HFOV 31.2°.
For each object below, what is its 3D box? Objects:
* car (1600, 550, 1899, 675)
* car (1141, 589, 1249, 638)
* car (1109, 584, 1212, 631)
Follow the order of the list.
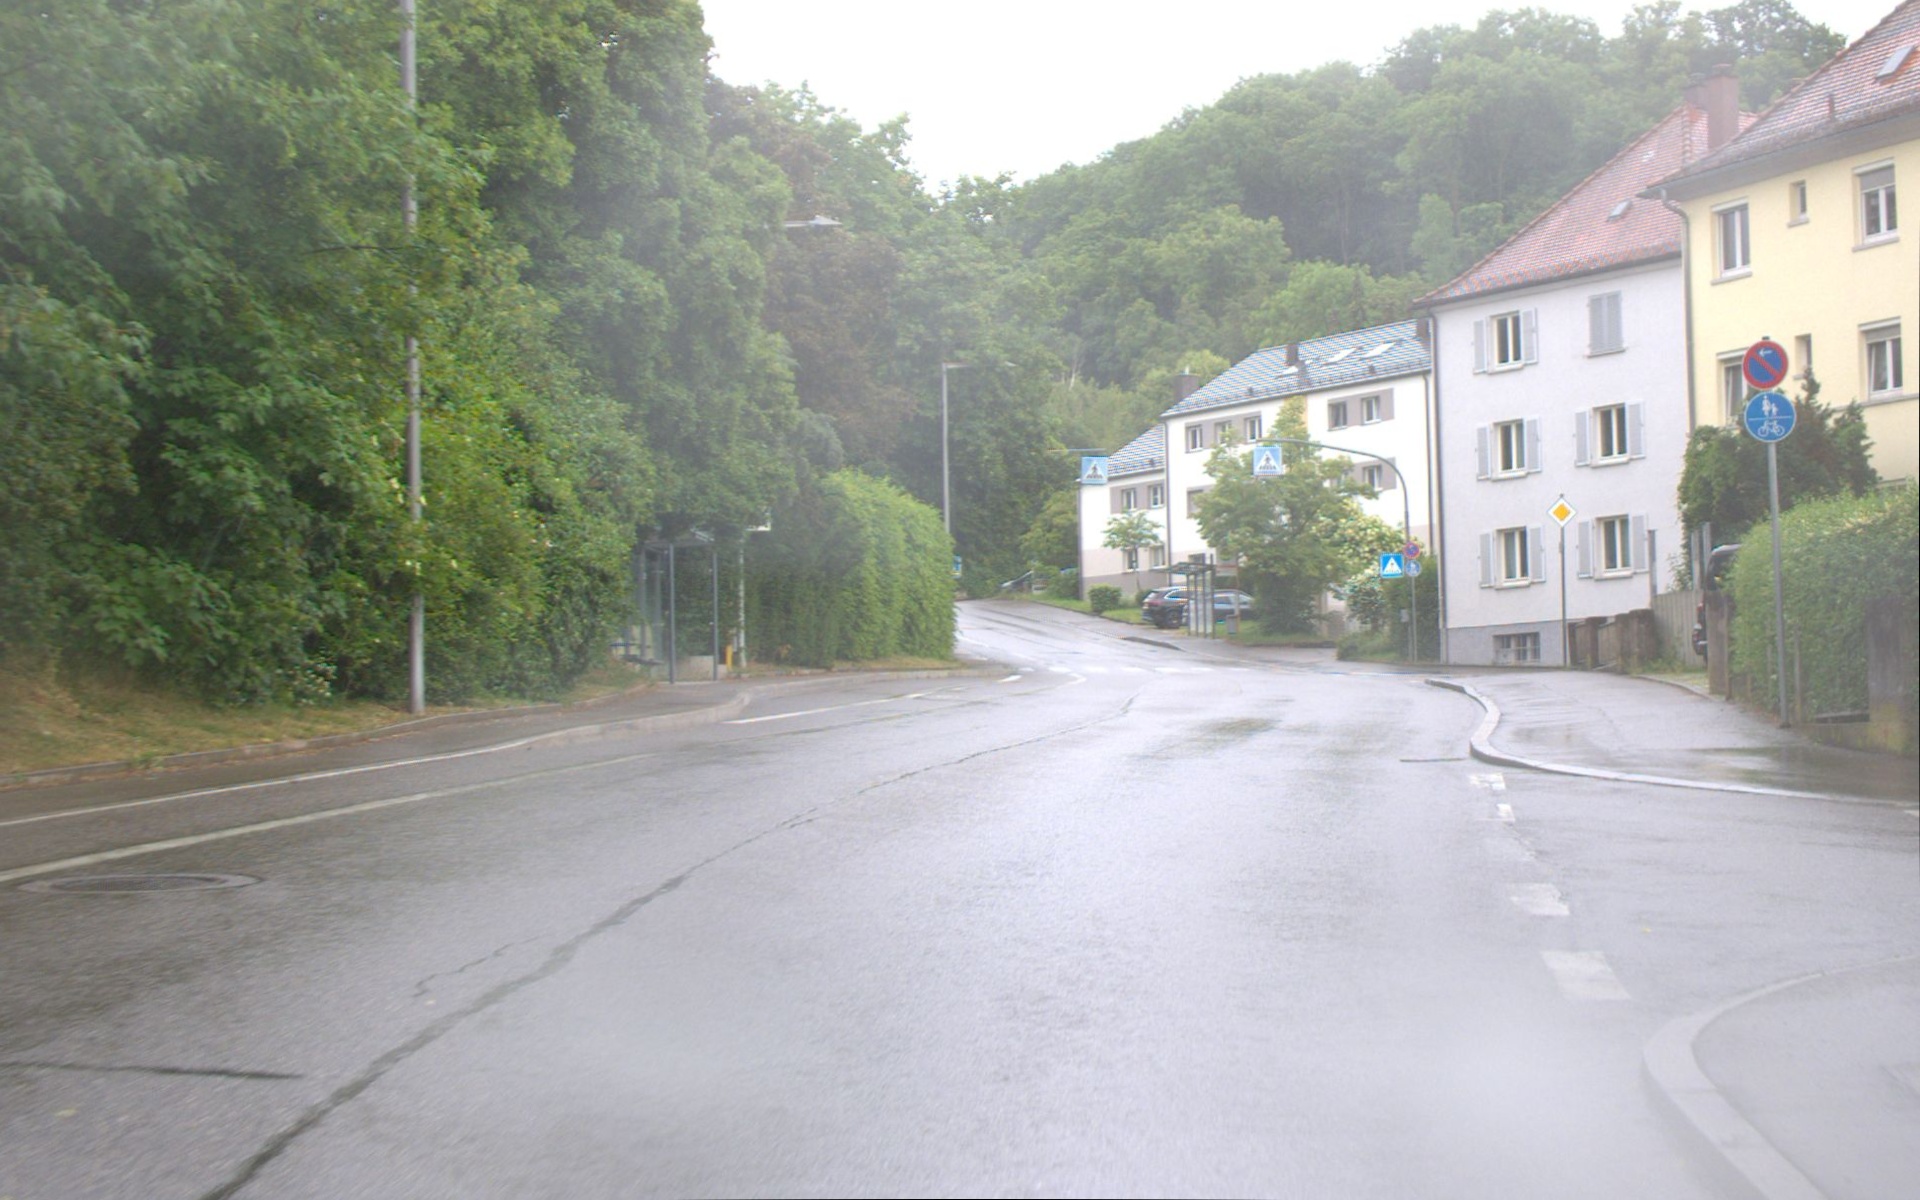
[{"bbox_3d":[12.153,0.217,53.017,3.986,1.766,2.000,2,-2,-12],"label":"car"},{"bbox_3d":[9.283,0.532,135.851,3.986,1.766,2.000,2,-2,-4],"label":"car"},{"bbox_3d":[8.232,0.329,141.275,3.986,1.766,2.000,2,-2,-4],"label":"car"}]
